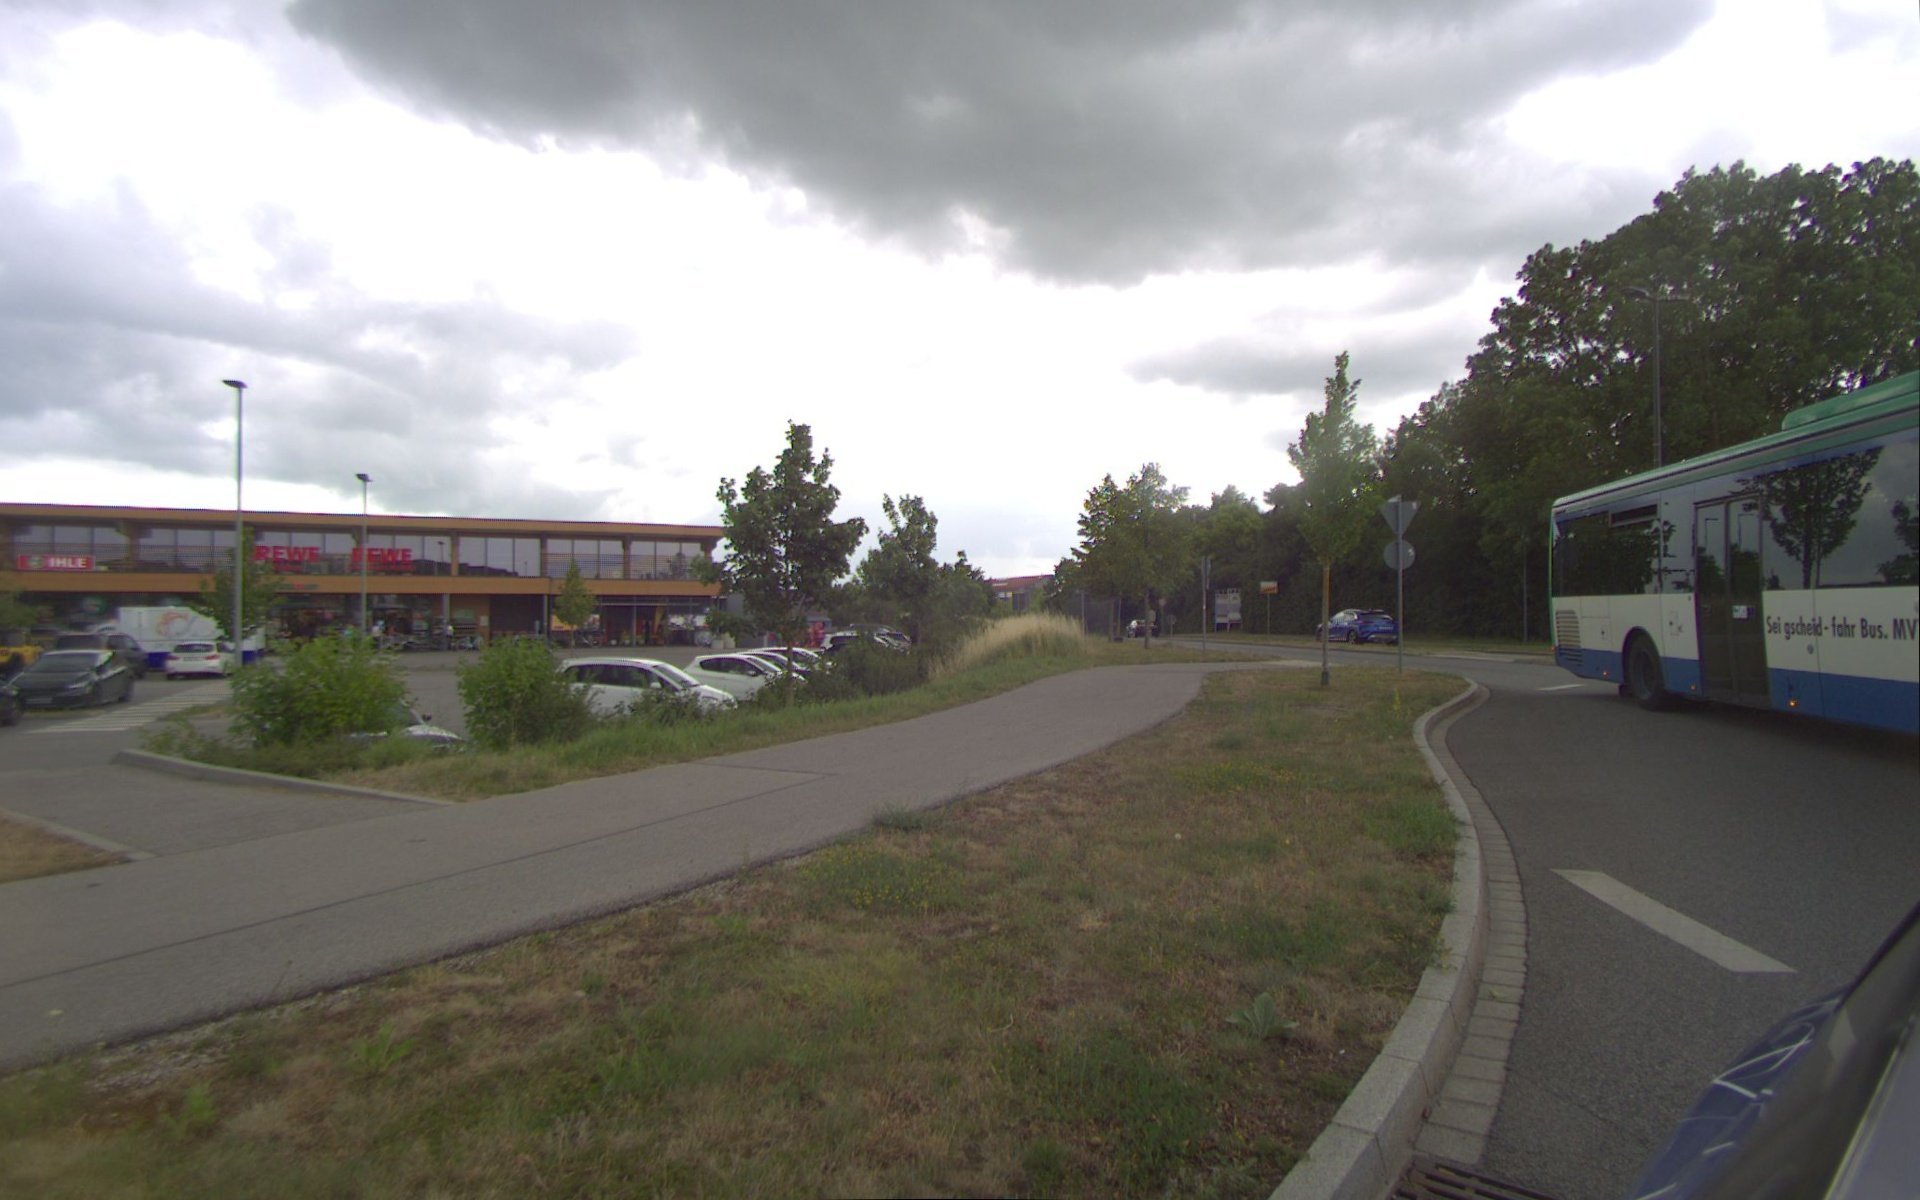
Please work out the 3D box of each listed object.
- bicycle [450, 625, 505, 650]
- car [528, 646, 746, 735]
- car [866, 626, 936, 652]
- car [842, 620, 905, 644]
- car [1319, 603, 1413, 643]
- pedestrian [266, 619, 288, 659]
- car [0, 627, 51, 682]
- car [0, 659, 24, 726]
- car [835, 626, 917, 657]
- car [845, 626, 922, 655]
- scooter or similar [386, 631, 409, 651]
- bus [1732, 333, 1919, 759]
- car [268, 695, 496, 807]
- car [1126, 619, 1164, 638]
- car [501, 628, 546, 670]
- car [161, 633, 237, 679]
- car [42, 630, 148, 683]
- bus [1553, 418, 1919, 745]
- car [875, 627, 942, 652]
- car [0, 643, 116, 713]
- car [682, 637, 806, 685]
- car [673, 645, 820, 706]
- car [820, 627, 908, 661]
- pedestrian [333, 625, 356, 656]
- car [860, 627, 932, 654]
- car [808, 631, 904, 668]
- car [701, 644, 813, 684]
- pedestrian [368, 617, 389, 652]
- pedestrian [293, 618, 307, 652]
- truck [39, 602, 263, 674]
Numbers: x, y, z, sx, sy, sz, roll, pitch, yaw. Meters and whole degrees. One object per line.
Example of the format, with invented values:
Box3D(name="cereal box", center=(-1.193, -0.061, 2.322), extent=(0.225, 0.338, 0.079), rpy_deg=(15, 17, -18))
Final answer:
Box3D(name="bicycle", center=(-27.797, 2.162, 58.383), extent=(2.810, 1.326, 0.981), rpy_deg=(0, -1, -24))
Box3D(name="car", center=(-7.293, 2.020, 23.093), extent=(4.365, 1.694, 1.799), rpy_deg=(2, 1, 4))
Box3D(name="car", center=(-3.468, 2.285, 59.723), extent=(3.825, 1.483, 1.693), rpy_deg=(-1, -1, 9))
Box3D(name="car", center=(-5.502, 2.039, 64.449), extent=(3.919, 1.462, 1.886), rpy_deg=(-1, -1, -6))
Box3D(name="car", center=(15.882, 0.939, 39.857), extent=(1.728, 1.449, 4.083), rpy_deg=(-1, -3, -5))
Box3D(name="pedestrian", center=(-35.683, 2.047, 52.897), extent=(0.913, 2.039, 0.806), rpy_deg=(0, -1, -31))
Box3D(name="car", center=(-34.895, 1.945, 36.608), extent=(1.735, 1.878, 4.007), rpy_deg=(-1, -1, -23))
Box3D(name="car", center=(-21.779, 2.073, 21.444), extent=(1.799, 1.416, 4.005), rpy_deg=(0, 0, -27))
Box3D(name="car", center=(-4.157, 2.056, 50.533), extent=(3.825, 1.483, 1.693), rpy_deg=(-1, -1, 9))
Box3D(name="car", center=(-4.026, 2.159, 53.677), extent=(3.825, 1.483, 1.693), rpy_deg=(-1, -1, 9))
Box3D(name="scooter or similar", center=(-31.826, 2.324, 57.250), extent=(0.984, 1.141, 0.793), rpy_deg=(1, -4, -39))
Box3D(name="bus", center=(8.548, -0.403, 7.115), extent=(2.487, 3.299, 6.523), rpy_deg=(0, 1, 13))
Box3D(name="car", center=(-9.280, 2.327, 16.191), extent=(3.701, 1.390, 1.564), rpy_deg=(-2, -1, 31))
Box3D(name="car", center=(13.818, 2.089, 75.740), extent=(1.795, 1.324, 4.117), rpy_deg=(1, -1, -4))
Box3D(name="car", center=(-18.635, 2.047, 43.123), extent=(1.680, 1.588, 3.676), rpy_deg=(0, -1, -25))
Box3D(name="car", center=(-29.108, 2.109, 38.807), extent=(1.696, 1.549, 4.005), rpy_deg=(0, 0, -28))
Box3D(name="car", center=(-31.787, 2.023, 37.341), extent=(1.814, 1.747, 4.127), rpy_deg=(-2, 0, -23))
Box3D(name="bus", center=(9.903, -0.245, 12.954), extent=(2.487, 3.299, 5.439), rpy_deg=(0, 1, 13))
Box3D(name="car", center=(-3.121, 2.380, 61.379), extent=(3.825, 1.483, 1.693), rpy_deg=(-1, -1, 9))
Box3D(name="car", center=(-24.229, 2.022, 27.093), extent=(1.696, 1.573, 4.005), rpy_deg=(0, -1, -28))
Box3D(name="car", center=(-6.691, 1.882, 31.610), extent=(3.602, 1.311, 1.718), rpy_deg=(-1, 0, -5))
Box3D(name="car", center=(-6.132, 2.162, 29.463), extent=(3.921, 1.527, 2.001), rpy_deg=(-1, 0, -3))
Box3D(name="car", center=(-4.490, 2.049, 47.437), extent=(3.825, 1.483, 1.693), rpy_deg=(-1, -1, 9))
Box3D(name="pedestrian", center=(-33.031, 2.171, 54.325), extent=(0.791, 1.678, 0.749), rpy_deg=(-1, -1, 8))
Box3D(name="car", center=(-3.622, 2.275, 57.465), extent=(3.825, 1.483, 1.693), rpy_deg=(-1, -1, 9))
Box3D(name="car", center=(-4.456, 2.118, 43.527), extent=(3.825, 1.483, 1.693), rpy_deg=(-1, -1, 9))
Box3D(name="car", center=(-7.074, 2.233, 35.480), extent=(3.611, 1.311, 1.414), rpy_deg=(0, -1, 5))
Box3D(name="pedestrian", center=(-32.570, 1.934, 56.680), extent=(0.912, 1.923, 0.793), rpy_deg=(1, -4, -39))
Box3D(name="pedestrian", center=(-38.661, 2.033, 59.278), extent=(0.523, 1.974, 0.570), rpy_deg=(-1, -1, 40))
Box3D(name="truck", center=(-34.670, 1.561, 43.783), extent=(7.110, 2.843, 2.980), rpy_deg=(0, -1, -27))
